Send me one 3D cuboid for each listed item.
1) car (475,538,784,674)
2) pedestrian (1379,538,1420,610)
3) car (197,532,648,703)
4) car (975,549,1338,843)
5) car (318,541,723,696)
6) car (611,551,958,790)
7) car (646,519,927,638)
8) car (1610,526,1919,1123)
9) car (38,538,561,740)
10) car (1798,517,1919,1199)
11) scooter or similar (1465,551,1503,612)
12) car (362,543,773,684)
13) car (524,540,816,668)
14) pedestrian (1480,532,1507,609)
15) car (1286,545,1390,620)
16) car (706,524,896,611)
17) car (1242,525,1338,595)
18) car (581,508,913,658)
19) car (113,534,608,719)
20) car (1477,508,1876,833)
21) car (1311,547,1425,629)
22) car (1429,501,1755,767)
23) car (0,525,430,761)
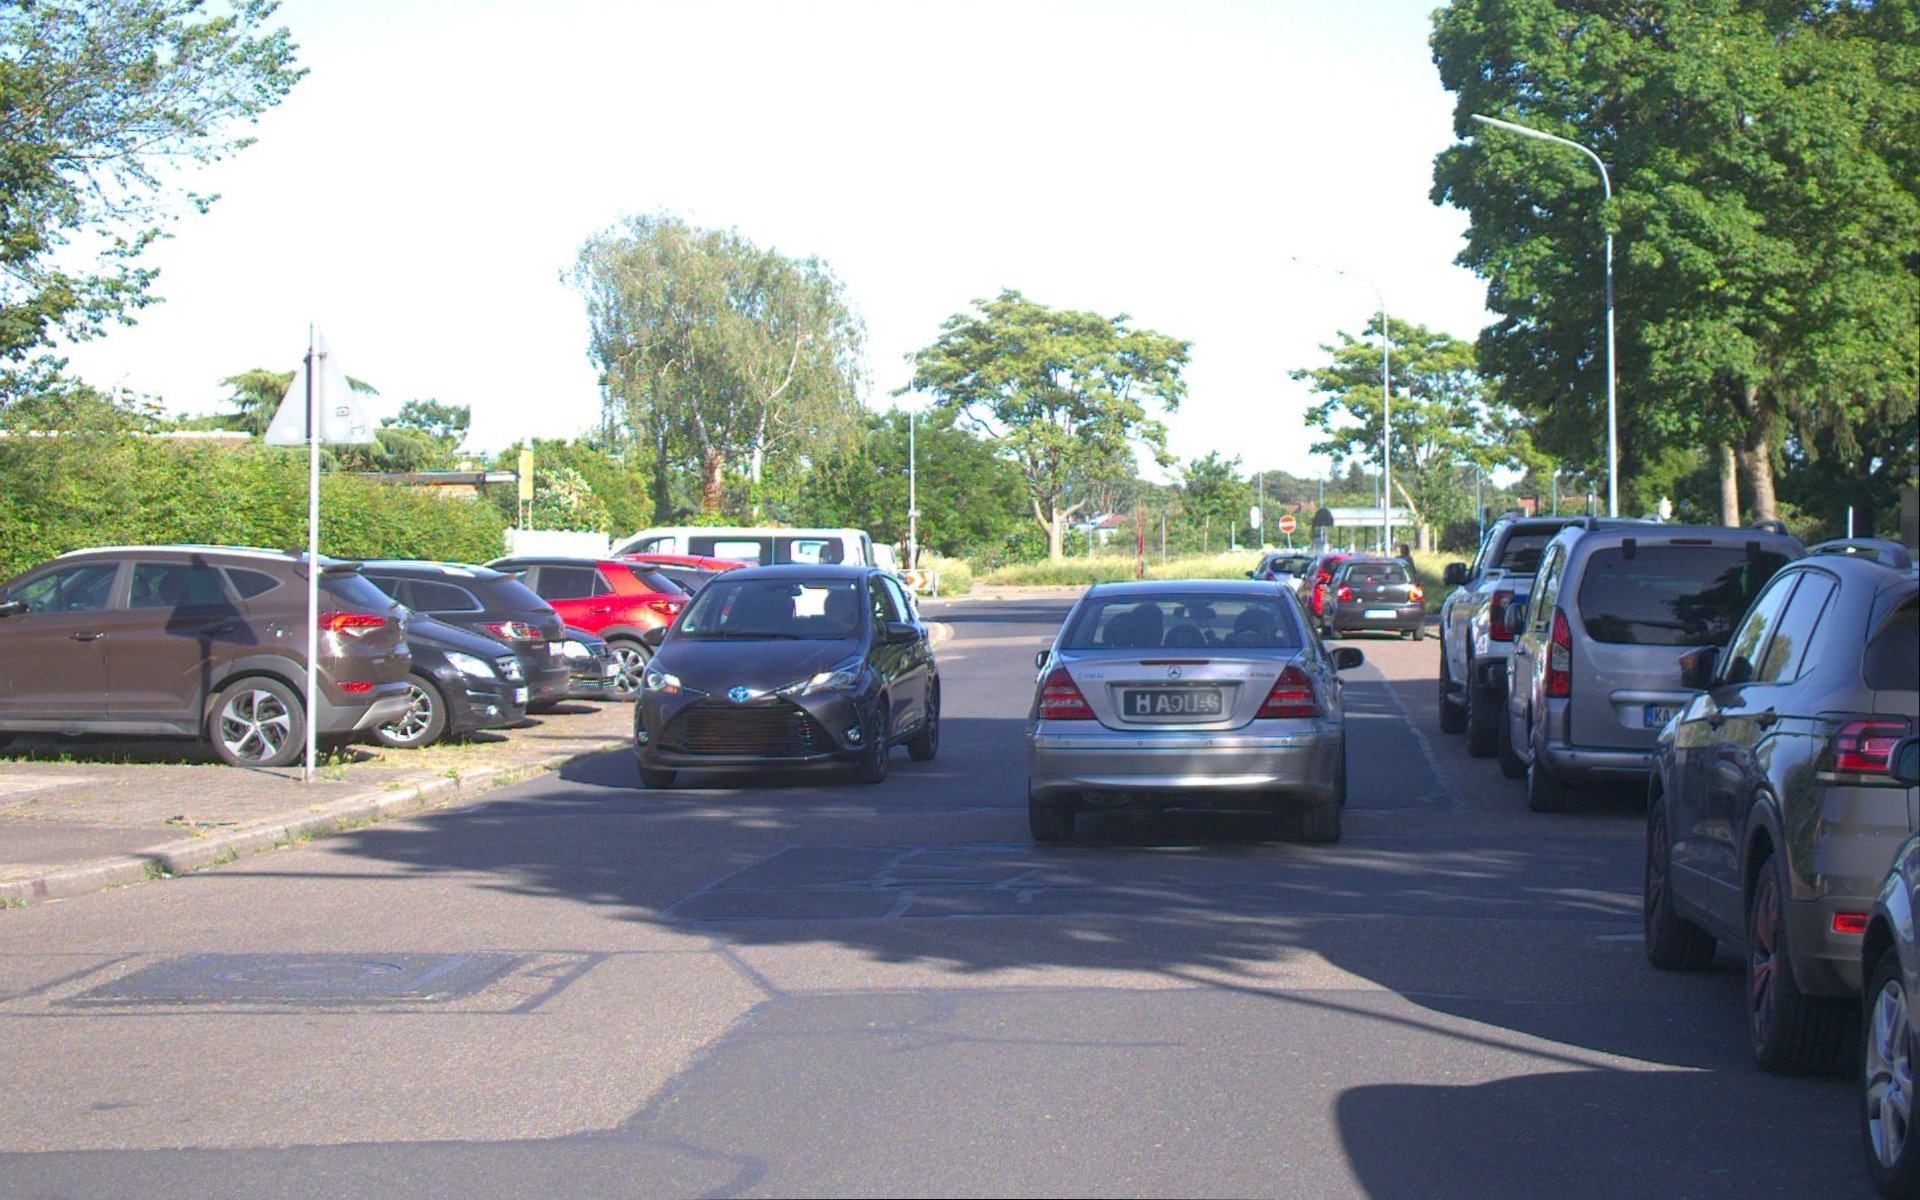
[{"bbox_3d":[-4.173,0.055,43.776,3.602,1.562,1.881,2,1,5],"label":"car"},{"bbox_3d":[9.750,-0.572,76.298,0.787,1.559,0.570,2,0,0],"label":"pedestrian"},{"bbox_3d":[-5.219,0.161,33.734,4.019,1.507,1.906,2,0,3],"label":"car"},{"bbox_3d":[1.242,0.455,19.843,1.816,1.458,4.360,1,1,7],"label":"car"},{"bbox_3d":[-4.671,0.174,36.848,3.988,1.474,1.790,2,1,5],"label":"car"},{"bbox_3d":[-1.173,0.464,24.760,1.650,1.550,4.000,-1,0,9],"label":"car"},{"bbox_3d":[-3.046,-0.382,61.022,4.789,1.914,2.082,2,0,1],"label":"car"},{"bbox_3d":[3.274,0.598,11.166,1.804,1.588,4.023,2,1,4],"label":"car"},{"bbox_3d":[-5.536,0.314,29.137,3.987,1.527,1.832,2,0,3],"label":"car"},{"bbox_3d":[2.877,0.653,6.409,1.768,1.604,4.372,2,0,4],"label":"car"},{"bbox_3d":[10.540,-0.371,69.180,0.623,1.223,0.905,-1,0,0],"label":"scooter or similar"},{"bbox_3d":[-4.614,0.136,40.755,4.544,1.474,1.747,2,1,5],"label":"car"},{"bbox_3d":[-3.871,0.038,46.264,3.602,1.562,1.852,2,1,5],"label":"car"},{"bbox_3d":[10.895,-0.599,70.228,0.481,1.559,0.597,-2,-1,11],"label":"pedestrian"},{"bbox_3d":[7.536,-0.347,68.820,1.575,1.441,3.789,1,0,-1],"label":"car"},{"bbox_3d":[-3.398,-0.706,73.629,3.977,1.774,1.926,1,1,-2],"label":"car"},{"bbox_3d":[7.531,-0.903,78.709,1.731,1.538,3.789,1,0,-1],"label":"car"},{"bbox_3d":[-3.016,-0.251,49.311,4.479,1.970,2.000,2,0,4],"label":"car"},{"bbox_3d":[-5.407,0.228,31.335,4.093,1.507,1.812,2,0,3],"label":"car"},{"bbox_3d":[4.434,0.341,21.936,1.833,1.785,4.555,2,2,4],"label":"car"},{"bbox_3d":[7.221,-0.209,61.140,1.647,1.398,3.882,-1,0,2],"label":"car"},{"bbox_3d":[4.852,0.173,27.101,1.907,1.834,5.274,2,2,4],"label":"car"},{"bbox_3d":[-6.329,0.289,26.236,4.187,1.650,1.846,2,0,3],"label":"car"}]
